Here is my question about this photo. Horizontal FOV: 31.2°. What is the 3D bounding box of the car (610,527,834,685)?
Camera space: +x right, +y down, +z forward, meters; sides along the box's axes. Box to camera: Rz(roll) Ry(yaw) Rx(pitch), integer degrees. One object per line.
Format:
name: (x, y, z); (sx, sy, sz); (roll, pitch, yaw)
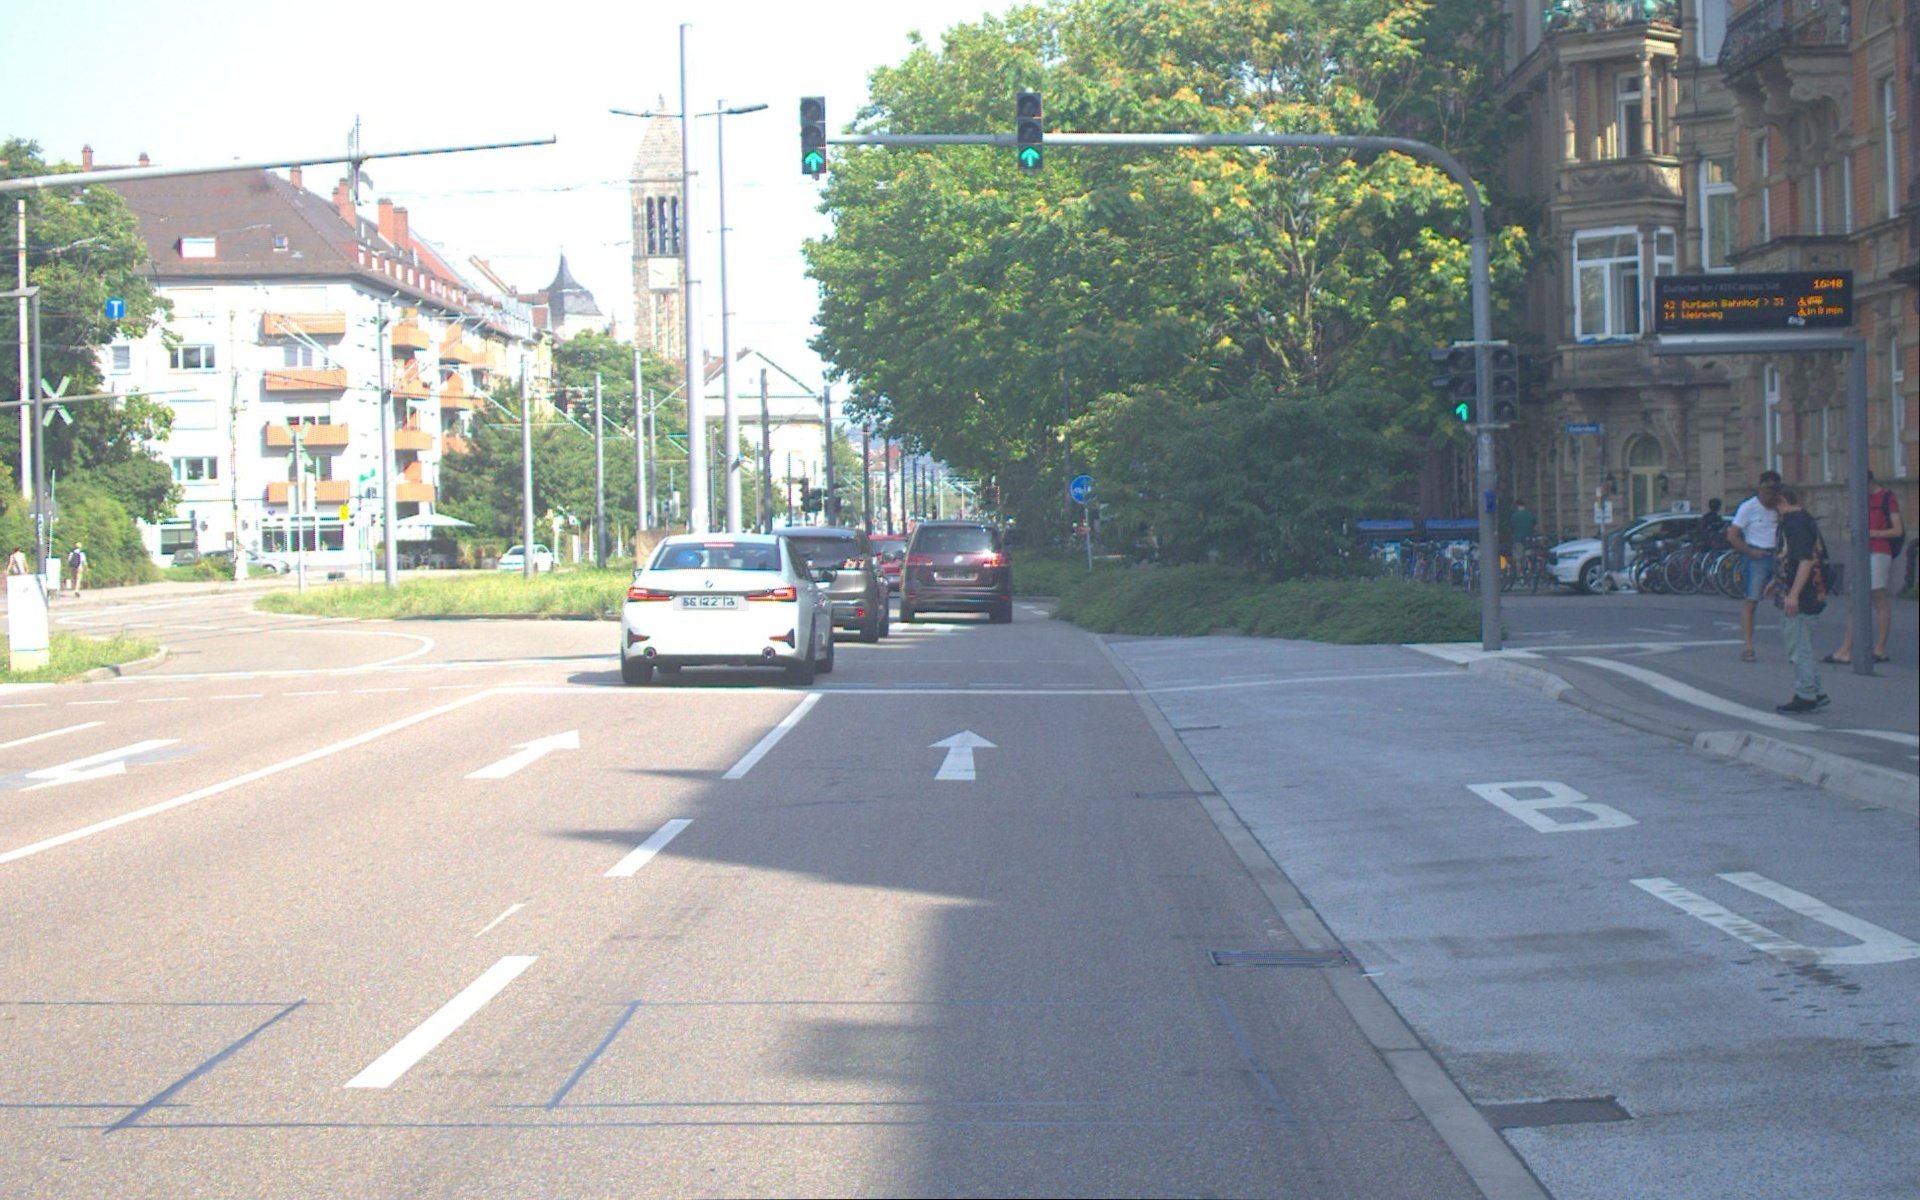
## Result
car: (-2.285, 0.007, 34.094); (1.809, 1.422, 4.775); (1, 1, 1)

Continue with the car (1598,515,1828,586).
car: (14.157, -0.940, 64.736); (3.936, 1.218, 1.547); (-2, 1, -3)

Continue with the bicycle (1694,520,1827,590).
bicycle: (12.469, -0.703, 53.577); (1.928, 1.044, 0.500); (-2, 1, -4)

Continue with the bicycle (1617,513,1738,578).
bicycle: (12.243, -0.935, 58.688); (1.928, 1.044, 0.527); (-2, 1, -4)

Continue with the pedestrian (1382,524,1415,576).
pedestrian: (9.128, -1.040, 71.595); (0.443, 1.067, 0.487); (-2, 1, -29)

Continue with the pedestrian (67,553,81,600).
pedestrian: (-28.573, -0.760, 110.871); (0.304, 1.513, 0.341); (-2, 1, -3)

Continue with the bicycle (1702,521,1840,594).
bicycle: (12.097, -0.637, 51.307); (1.928, 1.044, 0.500); (-2, 1, -4)

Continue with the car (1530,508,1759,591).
car: (13.887, -1.036, 69.911); (4.180, 1.558, 2.000); (-2, 1, -3)

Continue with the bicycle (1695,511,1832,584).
bicycle: (12.121, -0.801, 51.890); (1.928, 1.044, 0.500); (-2, 1, -4)

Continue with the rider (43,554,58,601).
rider: (-27.580, -0.674, 104.294); (0.307, 1.426, 0.250); (-1, 1, 25)

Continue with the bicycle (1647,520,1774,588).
bicycle: (12.140, -0.752, 55.628); (1.928, 1.044, 0.527); (-2, 1, -4)

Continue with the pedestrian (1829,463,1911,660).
pedestrian: (7.984, -0.343, 30.169); (0.481, 1.696, 0.703); (-2, 1, -2)

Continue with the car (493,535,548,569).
car: (-19.896, -2.186, 155.665); (1.993, 1.495, 4.000); (-2, 1, -1)

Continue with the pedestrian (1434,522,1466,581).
pedestrian: (10.570, -1.047, 74.204); (0.598, 1.244, 0.506); (-2, 1, 1)

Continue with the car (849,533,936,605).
car: (-1.546, -0.735, 80.054); (1.831, 1.615, 4.357); (0, 1, 1)

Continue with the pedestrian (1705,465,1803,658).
pedestrian: (6.965, -0.339, 30.174); (0.690, 1.658, 0.619); (-1, 1, 2)

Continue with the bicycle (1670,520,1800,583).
bicycle: (12.256, -0.772, 54.376); (1.928, 0.947, 0.500); (-2, 1, -4)

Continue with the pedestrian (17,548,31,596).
pedestrian: (-29.537, -0.891, 108.494); (0.304, 1.513, 0.341); (-2, 1, -3)

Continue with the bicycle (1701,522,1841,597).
bicycle: (11.904, -0.592, 50.473); (1.928, 1.044, 0.500); (-2, 1, -4)

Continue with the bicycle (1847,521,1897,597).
bicycle: (12.942, -0.591, 48.812); (0.416, 1.044, 1.669); (-1, 1, 6)

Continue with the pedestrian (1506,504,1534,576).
pedestrian: (11.753, -1.253, 72.147); (0.443, 1.501, 0.487); (-2, 1, -4)

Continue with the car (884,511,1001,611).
car: (-0.253, -0.675, 57.800); (1.831, 1.615, 4.357); (0, 1, 1)

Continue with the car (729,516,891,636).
car: (-2.073, -0.375, 48.685); (1.993, 1.615, 4.357); (0, 1, 1)

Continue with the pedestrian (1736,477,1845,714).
pedestrian: (5.749, -0.037, 23.824); (0.528, 1.606, 0.703); (-2, 1, -2)
